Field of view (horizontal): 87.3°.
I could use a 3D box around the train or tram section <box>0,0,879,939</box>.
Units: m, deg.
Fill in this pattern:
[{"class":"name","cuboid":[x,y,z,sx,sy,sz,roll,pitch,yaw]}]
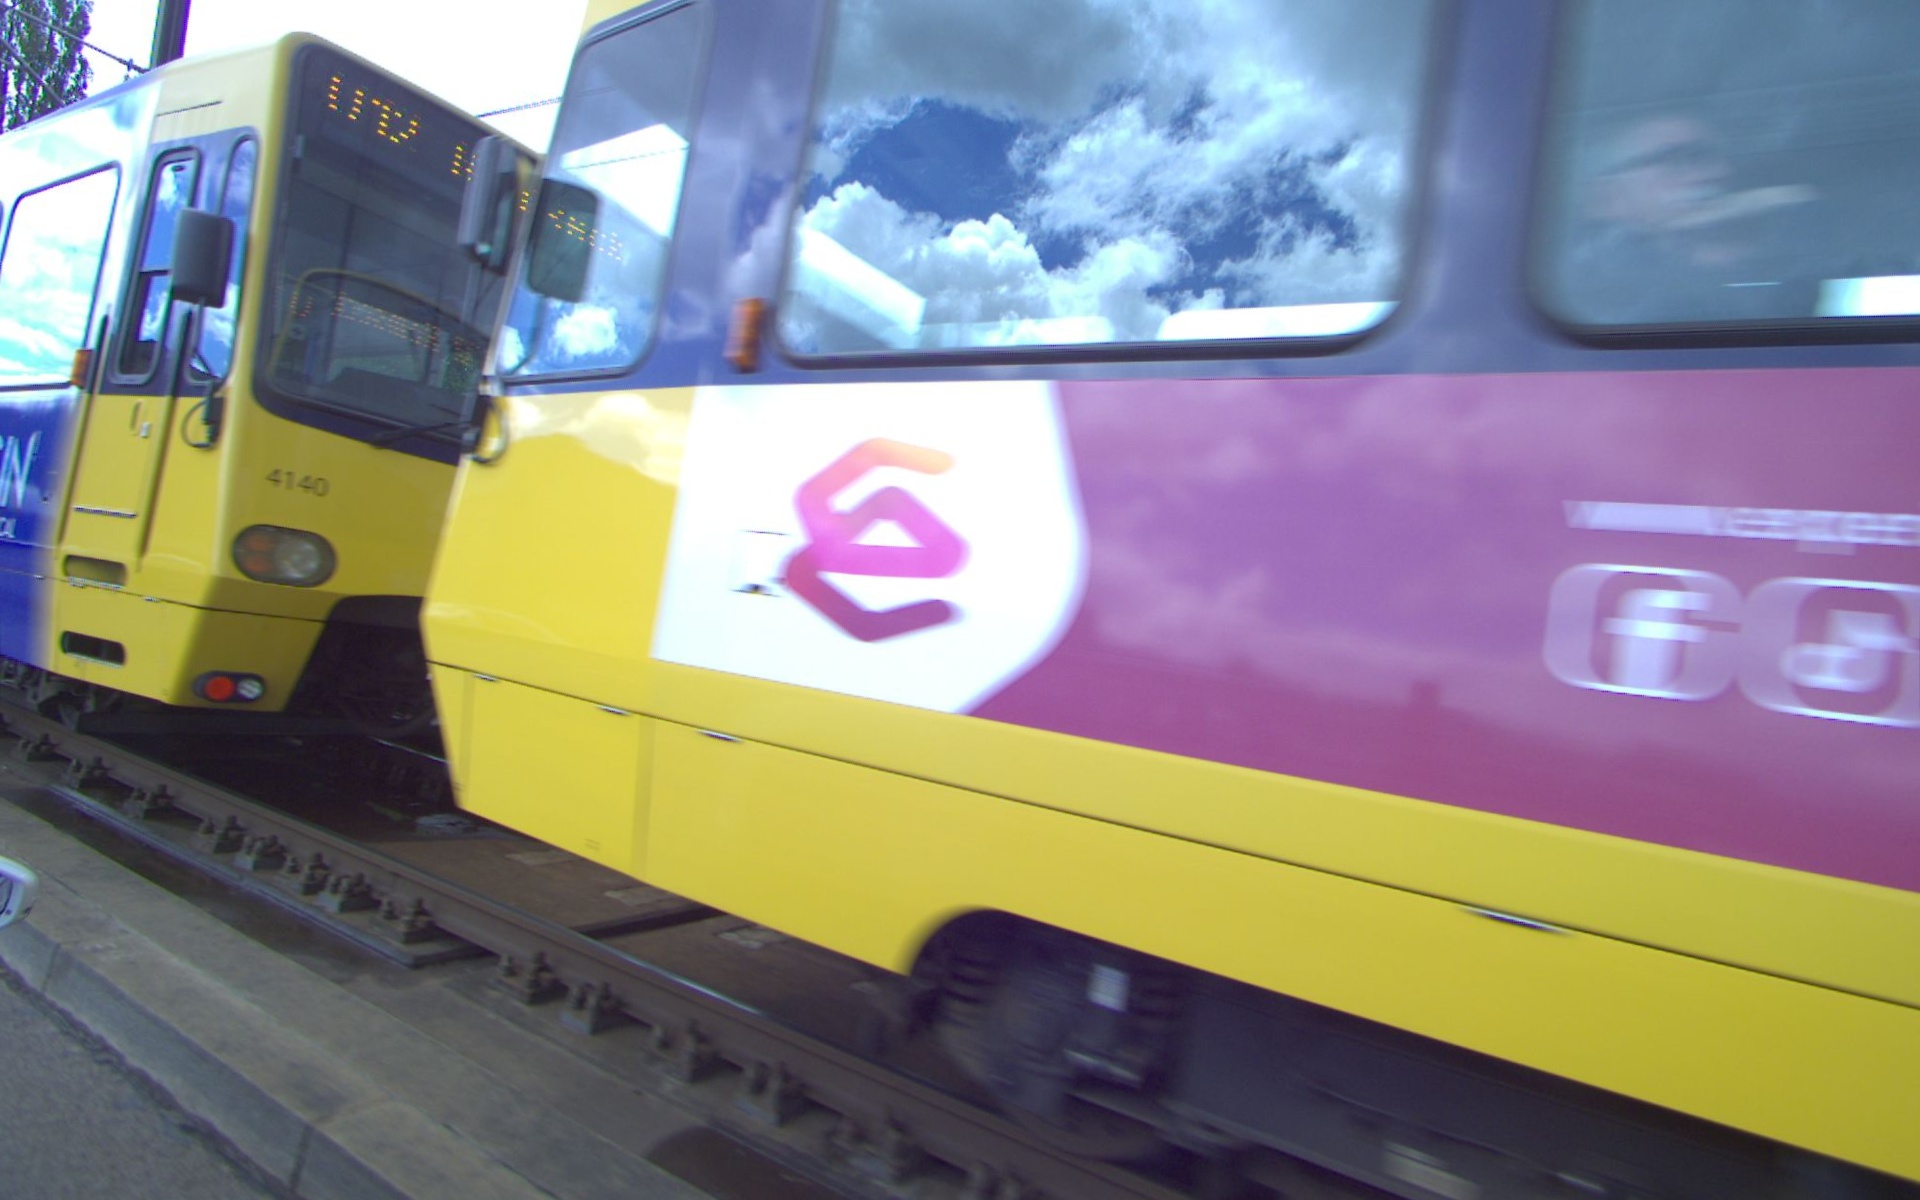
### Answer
[{"class":"train or tram section","cuboid":[-9.683,-1.475,9.485,19.560,3.701,2.788,6,0,31]}]
